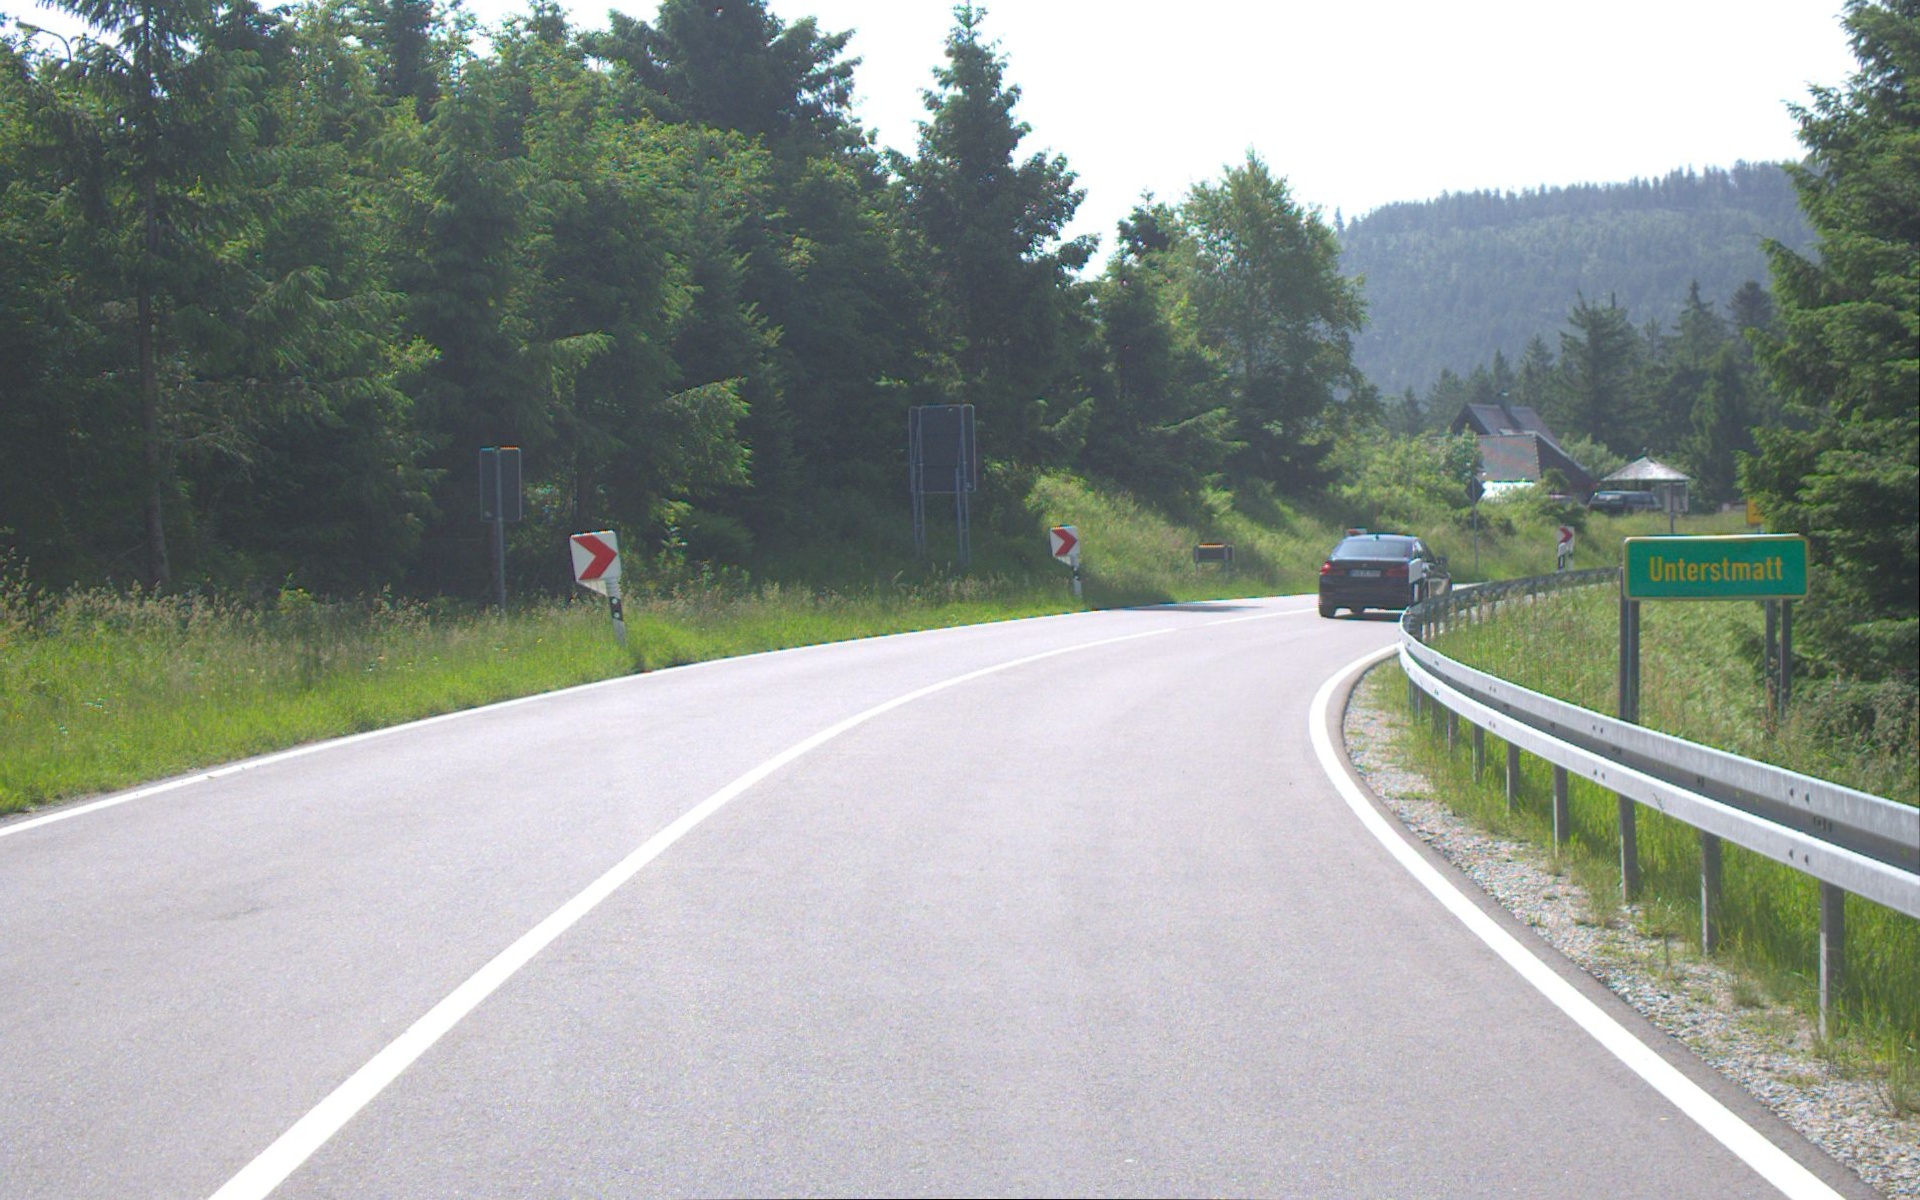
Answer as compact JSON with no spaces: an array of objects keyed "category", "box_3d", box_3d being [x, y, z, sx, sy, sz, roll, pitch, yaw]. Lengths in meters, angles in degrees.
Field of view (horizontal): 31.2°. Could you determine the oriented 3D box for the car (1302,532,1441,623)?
[{"category":"car","box_3d":[7.073,-0.418,58.822,1.777,1.437,3.706,2,2,16]}]
